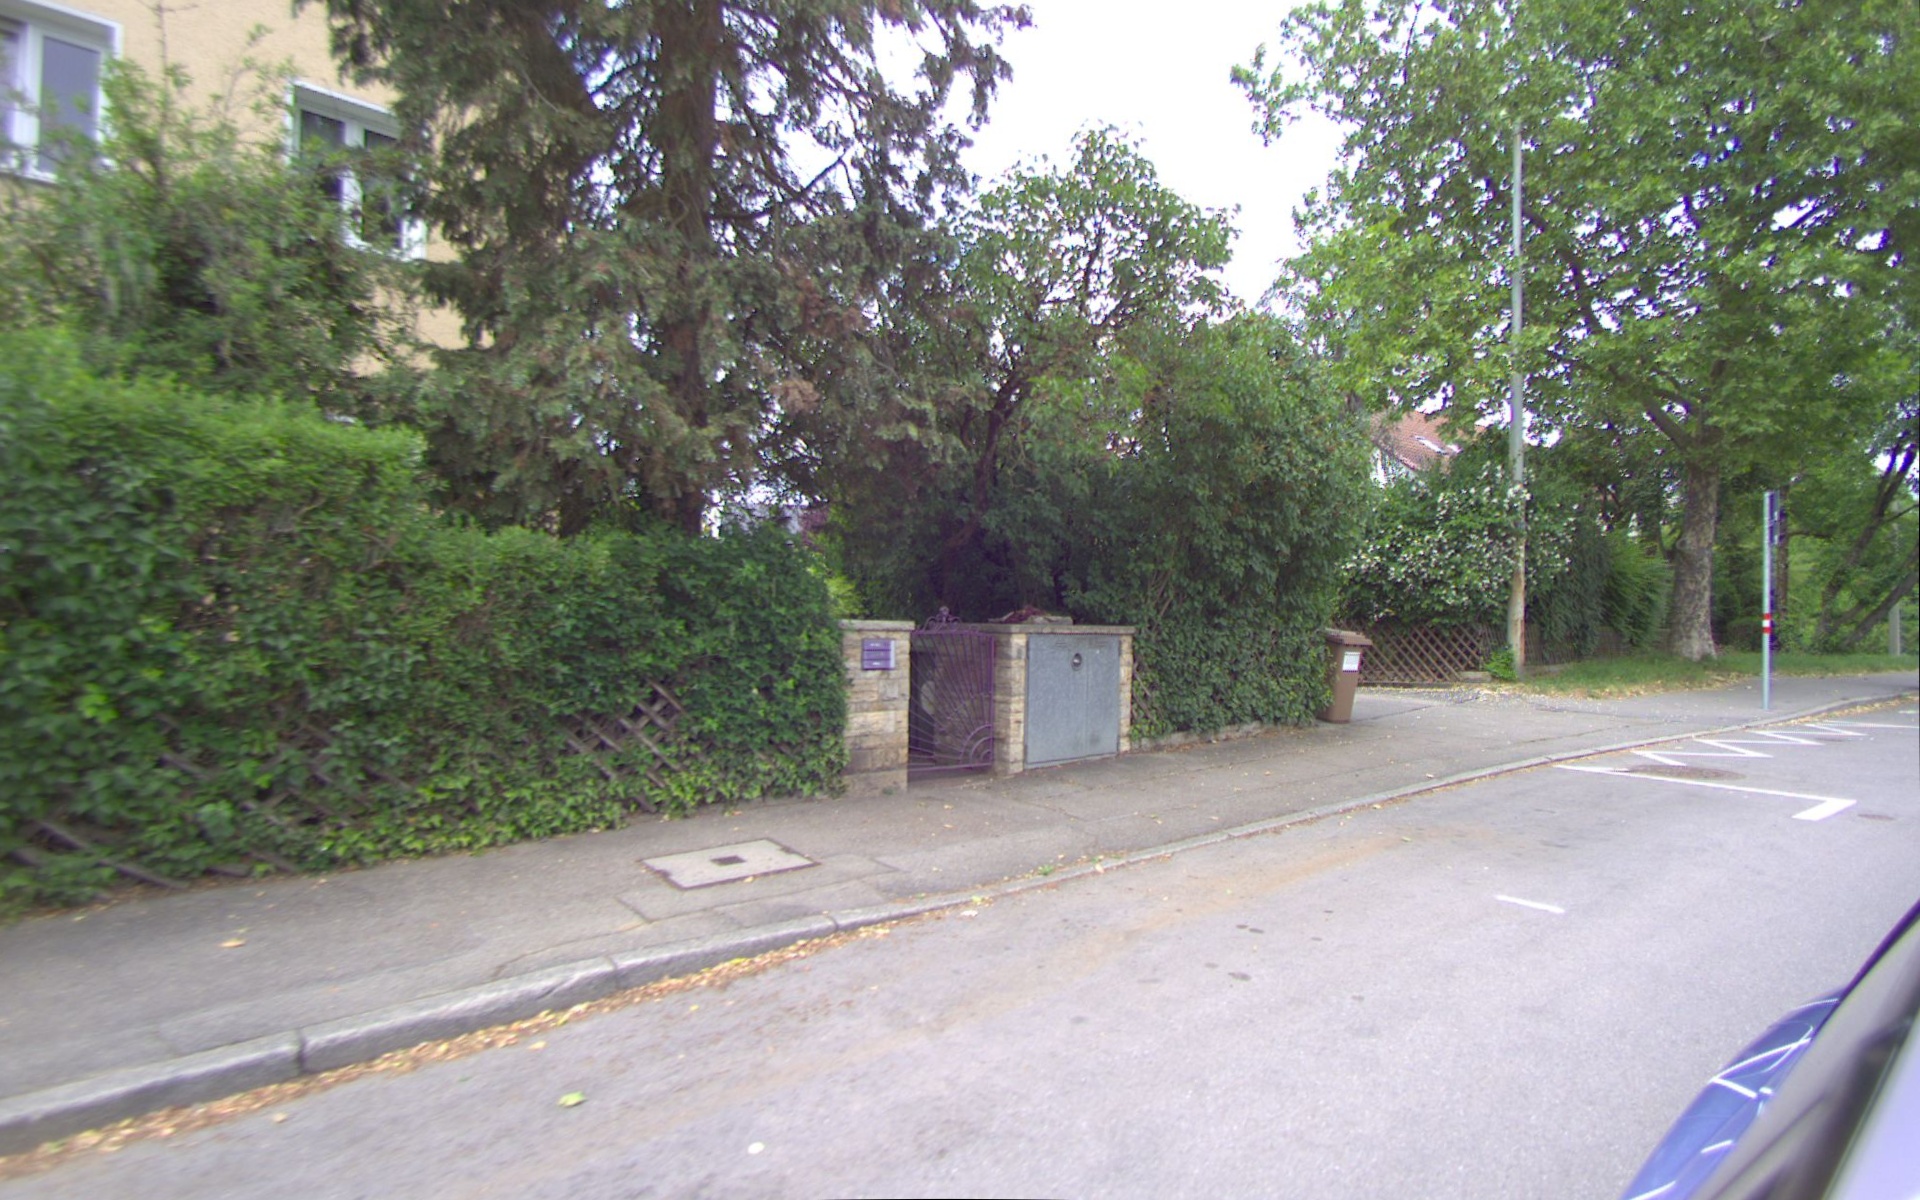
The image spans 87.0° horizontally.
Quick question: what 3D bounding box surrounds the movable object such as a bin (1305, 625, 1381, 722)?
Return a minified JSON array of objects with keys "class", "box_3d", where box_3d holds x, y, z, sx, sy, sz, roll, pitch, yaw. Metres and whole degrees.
[{"class":"movable object such as a bin","box_3d":[4.487,0.839,11.862,0.557,1.083,0.606,0,-1,-30]}]
